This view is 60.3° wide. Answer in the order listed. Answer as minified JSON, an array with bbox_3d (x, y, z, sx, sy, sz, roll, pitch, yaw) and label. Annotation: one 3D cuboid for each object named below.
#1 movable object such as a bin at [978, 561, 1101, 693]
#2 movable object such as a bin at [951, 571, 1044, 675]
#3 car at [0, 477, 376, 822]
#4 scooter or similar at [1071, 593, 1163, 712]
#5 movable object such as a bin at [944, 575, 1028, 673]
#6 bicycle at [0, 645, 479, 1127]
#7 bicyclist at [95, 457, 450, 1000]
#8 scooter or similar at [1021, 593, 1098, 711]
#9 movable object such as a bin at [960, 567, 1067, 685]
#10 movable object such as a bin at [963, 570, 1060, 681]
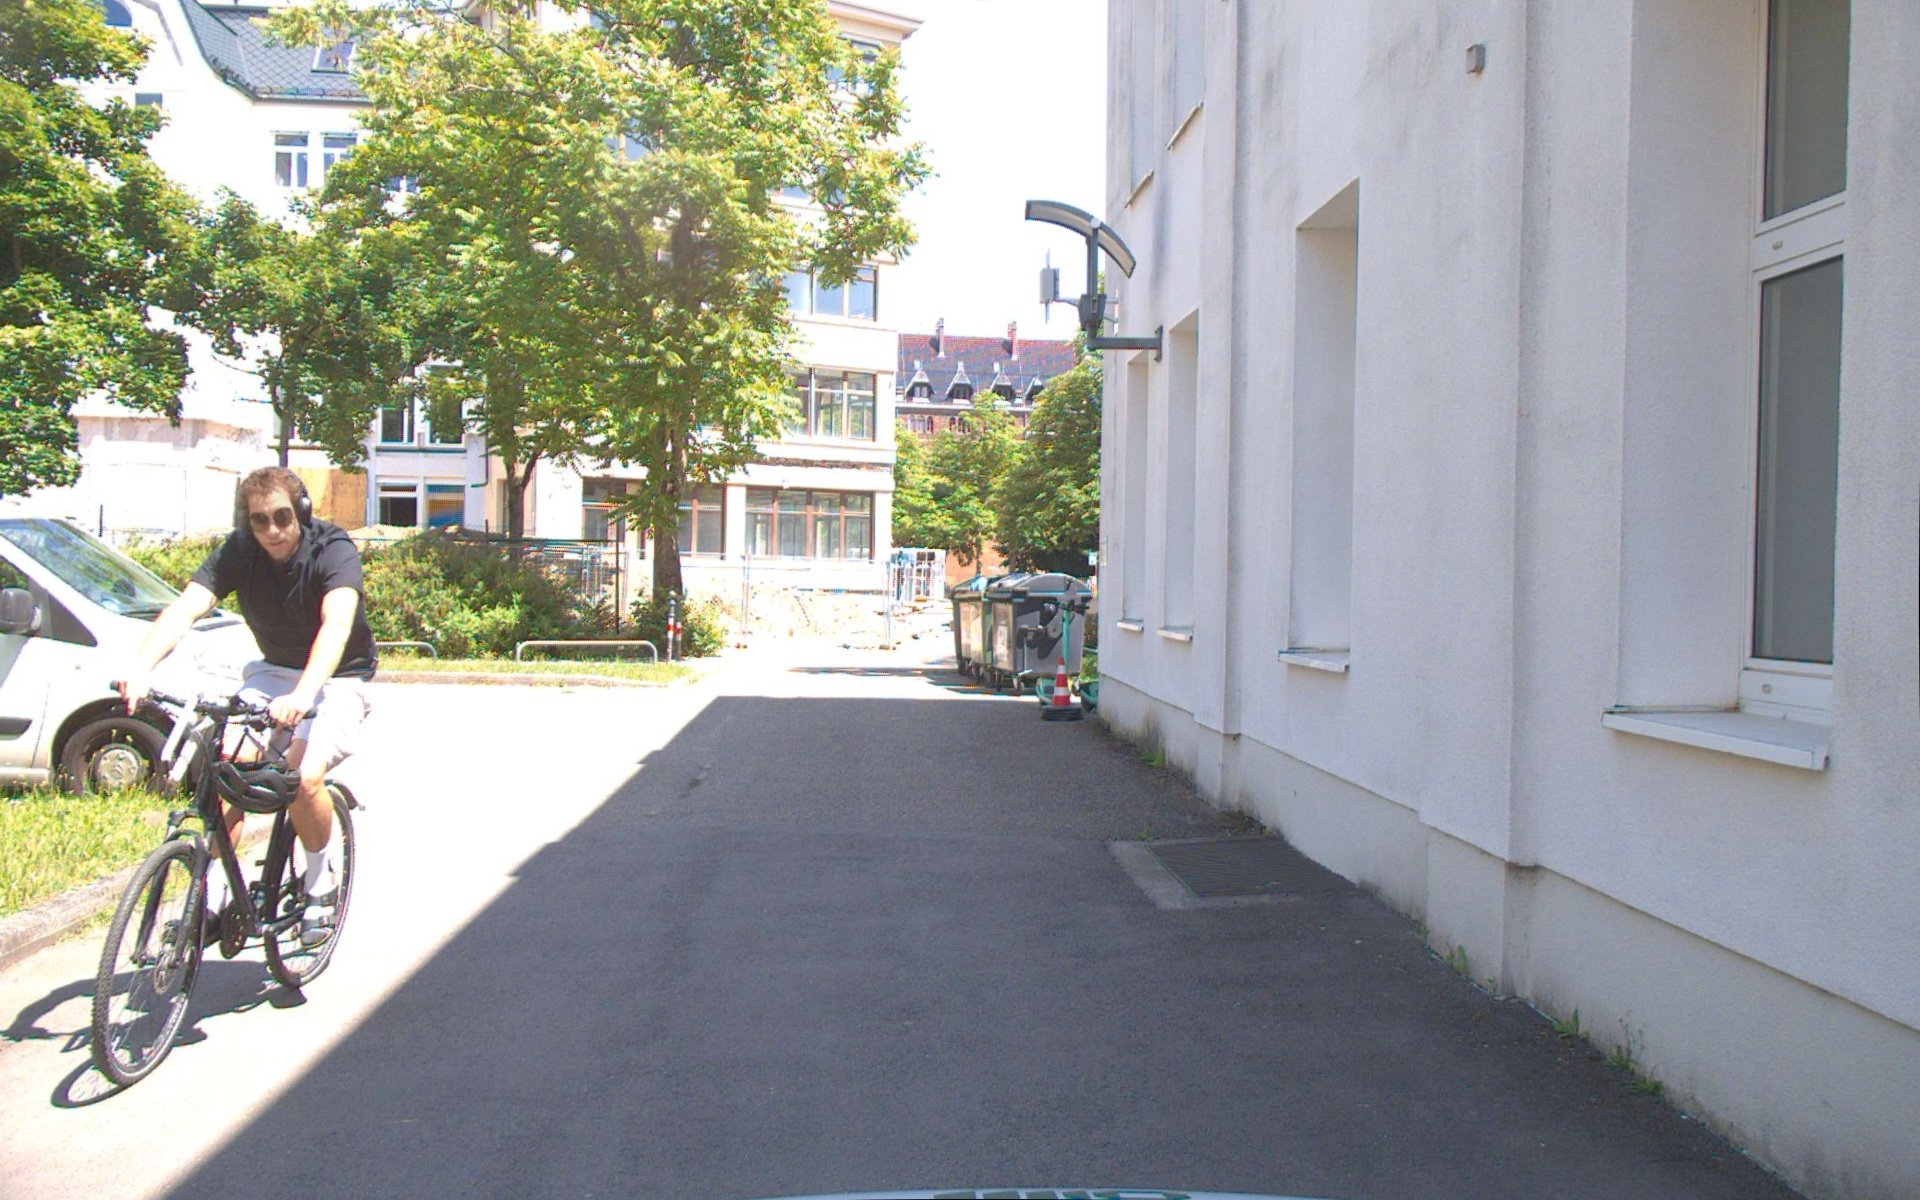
[{"bbox_3d":[0.947,0.325,20.195,1.135,1.532,1.458,1,-1,-13],"label":"movable object such as a bin"},{"bbox_3d":[0.542,0.337,24.735,1.157,1.495,1.309,1,-1,-9],"label":"movable object such as a bin"},{"bbox_3d":[-6.255,0.267,10.181,4.699,1.944,1.996,0,1,-9],"label":"car"},{"bbox_3d":[1.637,0.530,17.411,0.457,1.194,1.248,1,0,-21],"label":"scooter or similar"},{"bbox_3d":[0.428,0.369,26.269,1.154,1.495,1.334,1,-1,7],"label":"movable object such as a bin"},{"bbox_3d":[-2.266,0.810,5.494,0.630,1.194,1.906,1,2,5],"label":"bicycle"},{"bbox_3d":[-2.250,0.376,5.524,0.707,1.637,0.979,1,1,4],"label":"bicyclist"},{"bbox_3d":[1.036,0.527,17.465,0.455,1.194,1.353,1,0,-12],"label":"scooter or similar"},{"bbox_3d":[0.692,0.344,21.915,1.157,1.495,1.308,1,-1,-10],"label":"movable object such as a bin"},{"bbox_3d":[0.705,0.358,23.303,1.156,1.495,1.309,1,-1,-8],"label":"movable object such as a bin"}]
